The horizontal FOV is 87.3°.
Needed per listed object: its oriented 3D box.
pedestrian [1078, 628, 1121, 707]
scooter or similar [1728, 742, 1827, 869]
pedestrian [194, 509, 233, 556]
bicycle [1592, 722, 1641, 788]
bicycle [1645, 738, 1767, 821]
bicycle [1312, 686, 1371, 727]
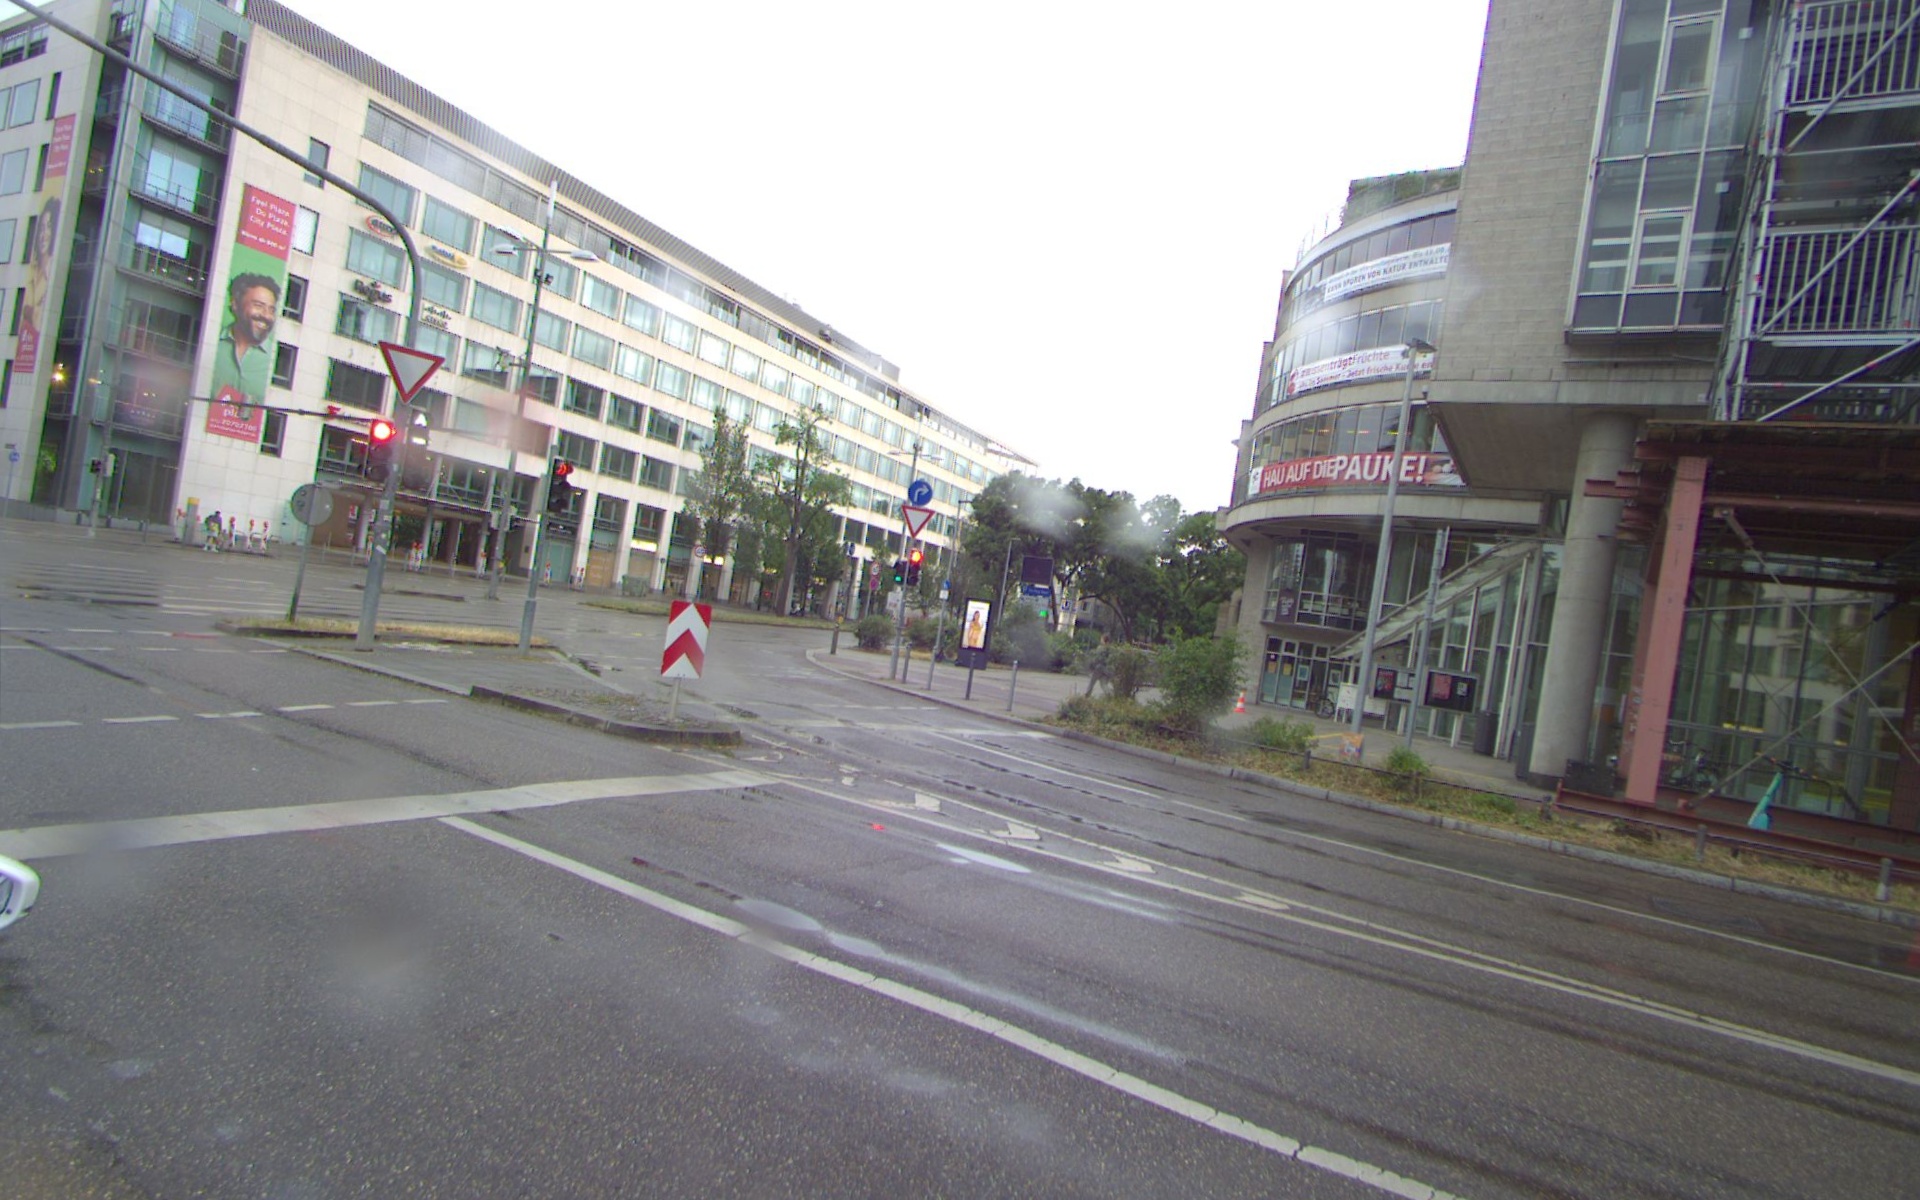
[{"bbox_3d":[3.396,1.625,24.386,0.776,1.796,0.781,7,-1,13],"label":"pedestrian"},{"bbox_3d":[9.228,2.274,11.411,0.577,1.208,1.780,7,-1,34],"label":"scooter or similar"},{"bbox_3d":[-32.159,-2.913,43.340,0.822,1.838,0.963,6,-1,31],"label":"pedestrian"},{"bbox_3d":[13.636,3.194,20.925,0.576,1.208,1.614,7,-2,27],"label":"bicycle"},{"bbox_3d":[13.492,3.230,18.223,1.584,1.208,0.587,7,-1,6],"label":"bicycle"},{"bbox_3d":[13.460,3.755,35.524,1.753,1.208,0.586,6,-1,29],"label":"bicycle"}]
